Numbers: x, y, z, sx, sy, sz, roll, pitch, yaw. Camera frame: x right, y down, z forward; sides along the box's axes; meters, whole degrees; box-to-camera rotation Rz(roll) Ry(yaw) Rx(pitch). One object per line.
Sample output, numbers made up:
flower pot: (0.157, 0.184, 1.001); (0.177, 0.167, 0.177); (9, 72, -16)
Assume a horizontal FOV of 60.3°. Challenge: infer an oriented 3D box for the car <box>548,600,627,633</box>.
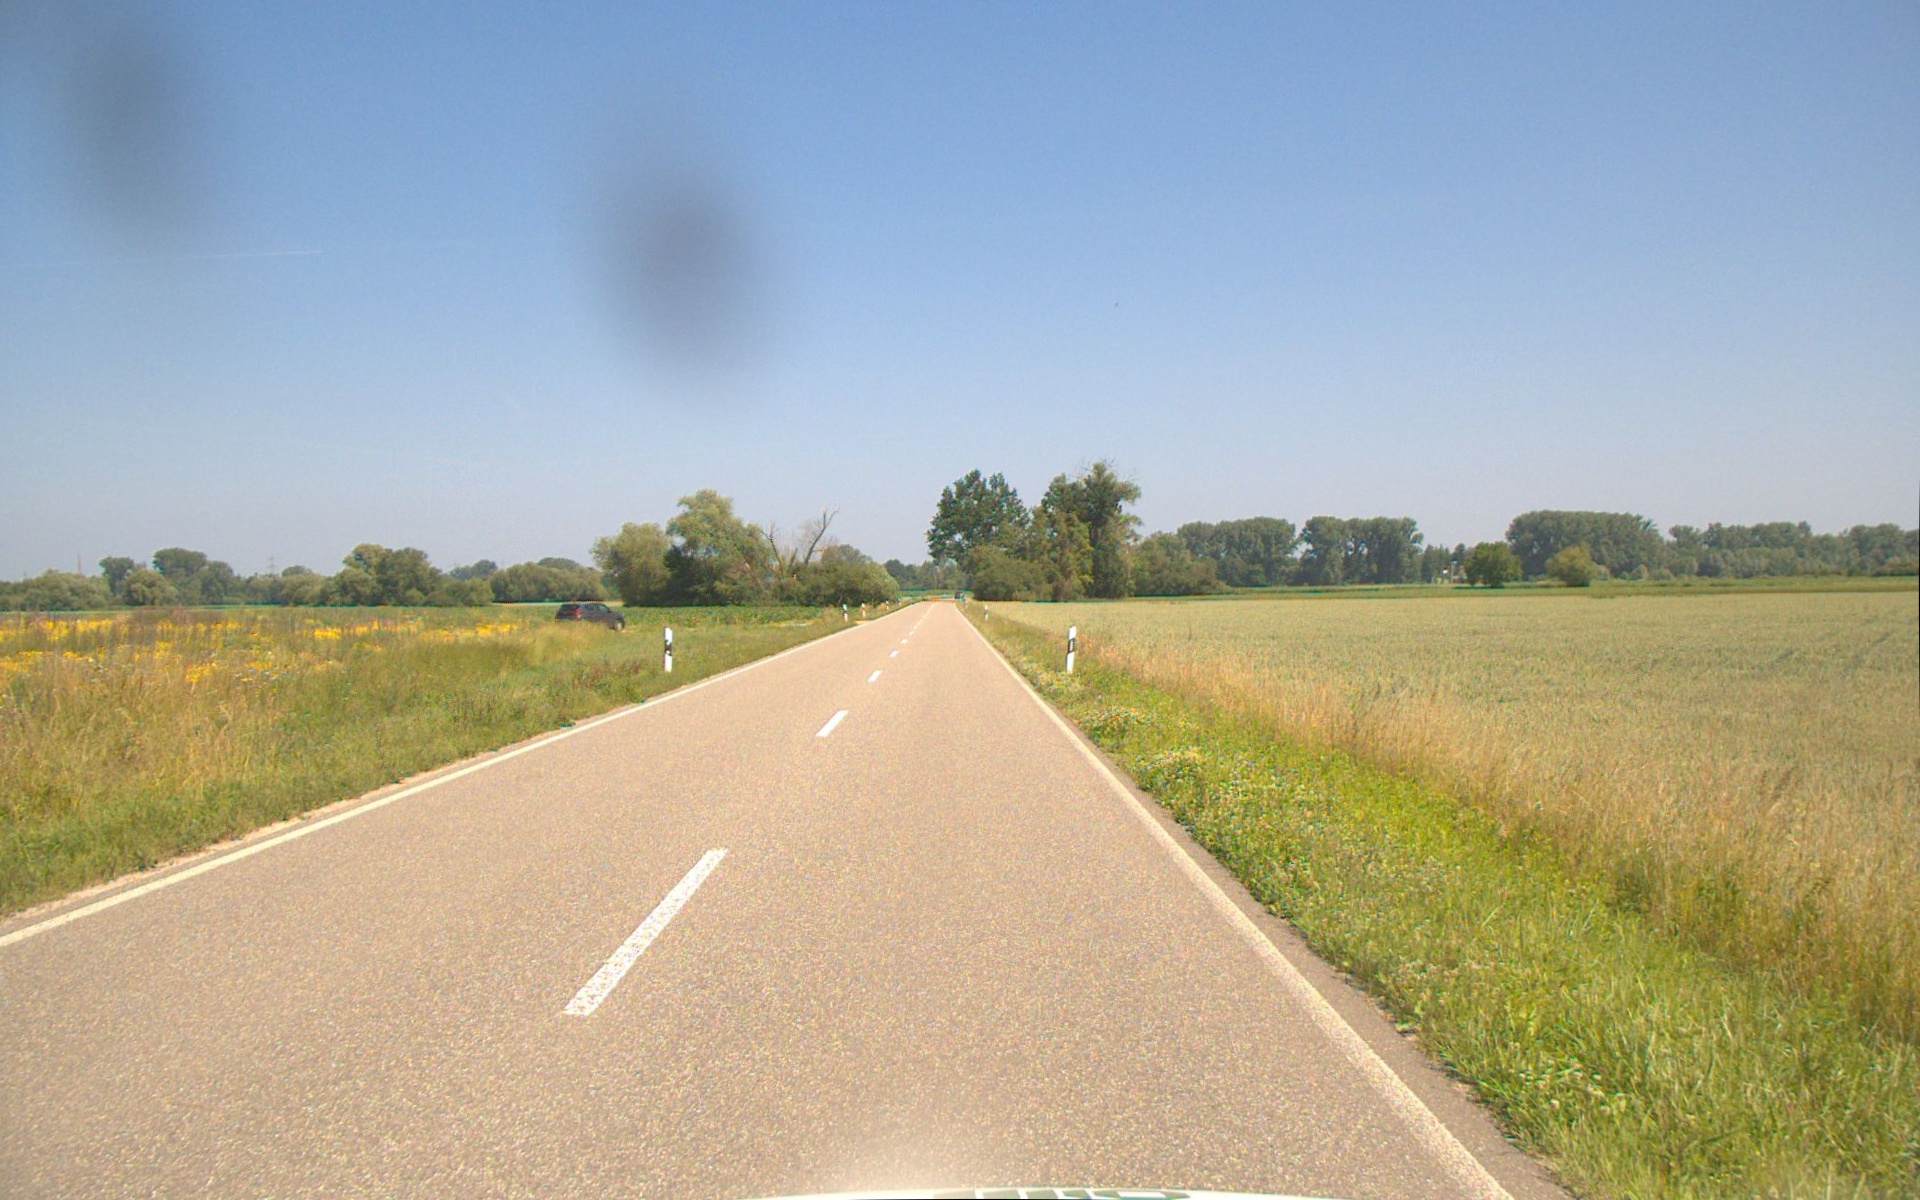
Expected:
car: (-19.951, 0.861, 88.748); (1.718, 1.680, 4.527); (-1, 0, 25)
